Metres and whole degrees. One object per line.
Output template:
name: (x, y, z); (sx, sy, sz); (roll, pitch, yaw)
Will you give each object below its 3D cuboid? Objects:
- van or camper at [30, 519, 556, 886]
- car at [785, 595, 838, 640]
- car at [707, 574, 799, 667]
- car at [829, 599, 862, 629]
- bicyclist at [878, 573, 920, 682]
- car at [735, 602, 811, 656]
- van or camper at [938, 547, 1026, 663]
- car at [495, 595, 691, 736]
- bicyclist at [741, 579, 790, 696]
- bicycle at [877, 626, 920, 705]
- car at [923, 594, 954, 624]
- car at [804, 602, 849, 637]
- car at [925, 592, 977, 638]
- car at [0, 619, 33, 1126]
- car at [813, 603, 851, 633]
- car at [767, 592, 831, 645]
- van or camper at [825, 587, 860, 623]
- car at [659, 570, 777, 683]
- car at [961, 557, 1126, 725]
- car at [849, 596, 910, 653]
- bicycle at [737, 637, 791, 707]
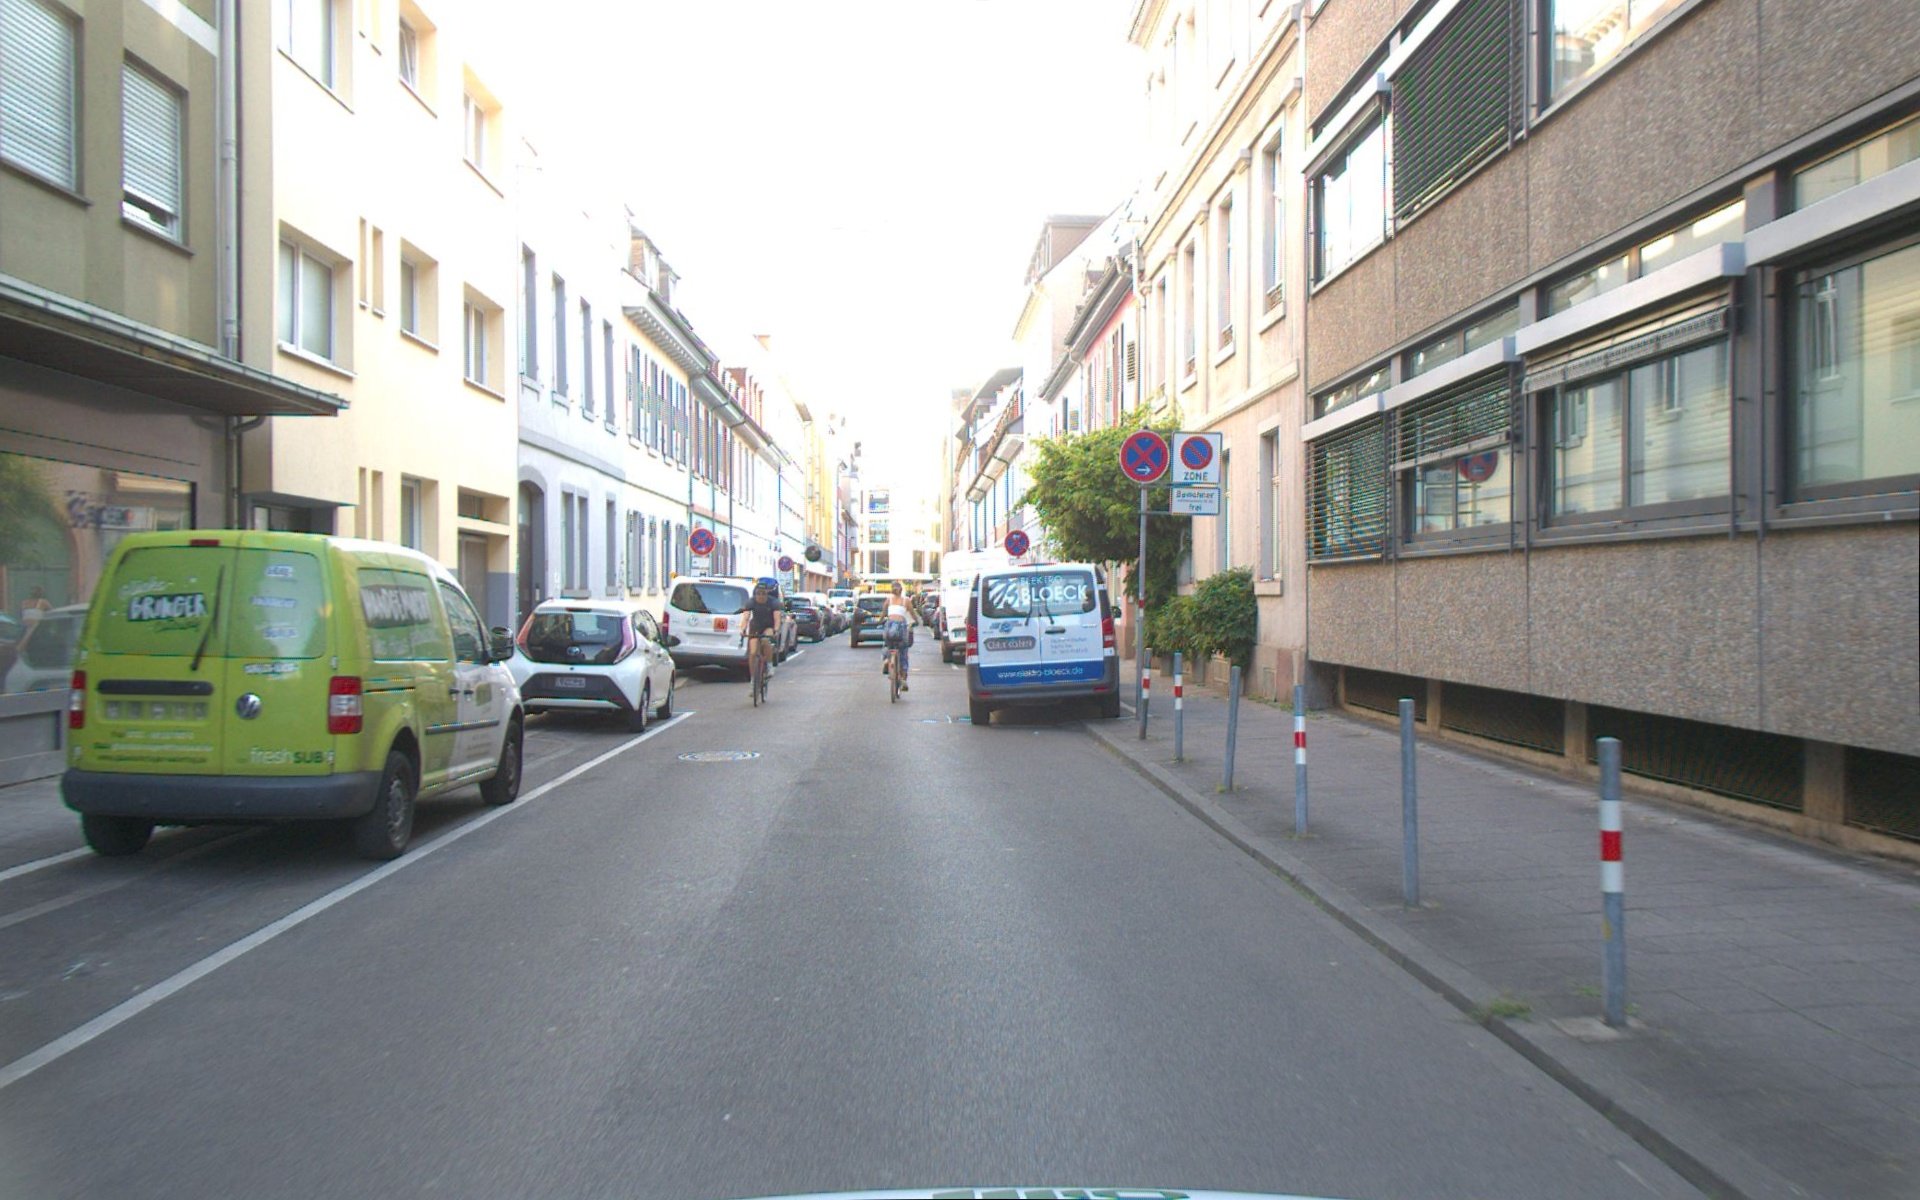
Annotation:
van or camper: (-3.969, 0.528, 10.675); (1.736, 1.880, 4.177); (-1, 0, -1)
car: (-6.045, 0.699, 67.860); (1.958, 1.737, 4.533); (1, 0, -3)
car: (-4.863, 0.454, 39.443); (1.825, 2.049, 4.811); (0, 0, -3)
car: (-6.295, 0.773, 91.074); (1.620, 1.588, 3.604); (1, 0, -2)
bicyclist: (-0.902, 0.405, 24.688); (0.608, 1.602, 0.683); (0, 0, -1)
car: (-5.201, 0.775, 46.344); (1.729, 1.426, 4.261); (0, 0, -1)
van or camper: (0.465, 0.110, 41.797); (2.008, 2.684, 7.061); (0, 0, -1)
car: (-4.326, 0.728, 19.975); (1.628, 1.474, 3.519); (3, 0, -2)
bicyclist: (-2.830, 0.541, 24.114); (0.611, 1.668, 1.081); (0, 0, -2)
bicycle: (-0.905, 0.956, 24.649); (0.601, 1.101, 1.809); (0, 0, -1)
car: (-1.194, 0.509, 91.551); (1.620, 1.588, 3.604); (1, 0, -2)
car: (-6.000, 0.856, 74.578); (1.880, 1.459, 4.290); (1, 0, -3)
car: (-0.336, 0.541, 61.880); (1.782, 1.556, 5.070); (-4, 0, 0)
car: (-3.417, 0.761, 2.815); (1.592, 1.441, 3.978); (1, 0, -3)
car: (-6.237, 0.867, 81.003); (1.620, 1.435, 3.901); (1, 0, -2)
car: (-5.490, 0.610, 56.791); (1.766, 1.706, 4.489); (0, 0, 0)
van or camper: (-6.880, 0.291, 96.905); (1.807, 2.048, 4.676); (1, 0, -2)
car: (-4.716, 0.479, 32.879); (1.825, 2.049, 5.103); (0, 0, -3)
car: (1.022, 0.475, 21.854); (1.896, 1.931, 5.277); (-1, 0, 1)
car: (-2.472, 0.723, 51.093); (1.783, 1.646, 3.998); (1, 0, -2)
bicycle: (-2.837, 1.030, 24.062); (0.621, 0.938, 1.779); (0, 0, -1)
